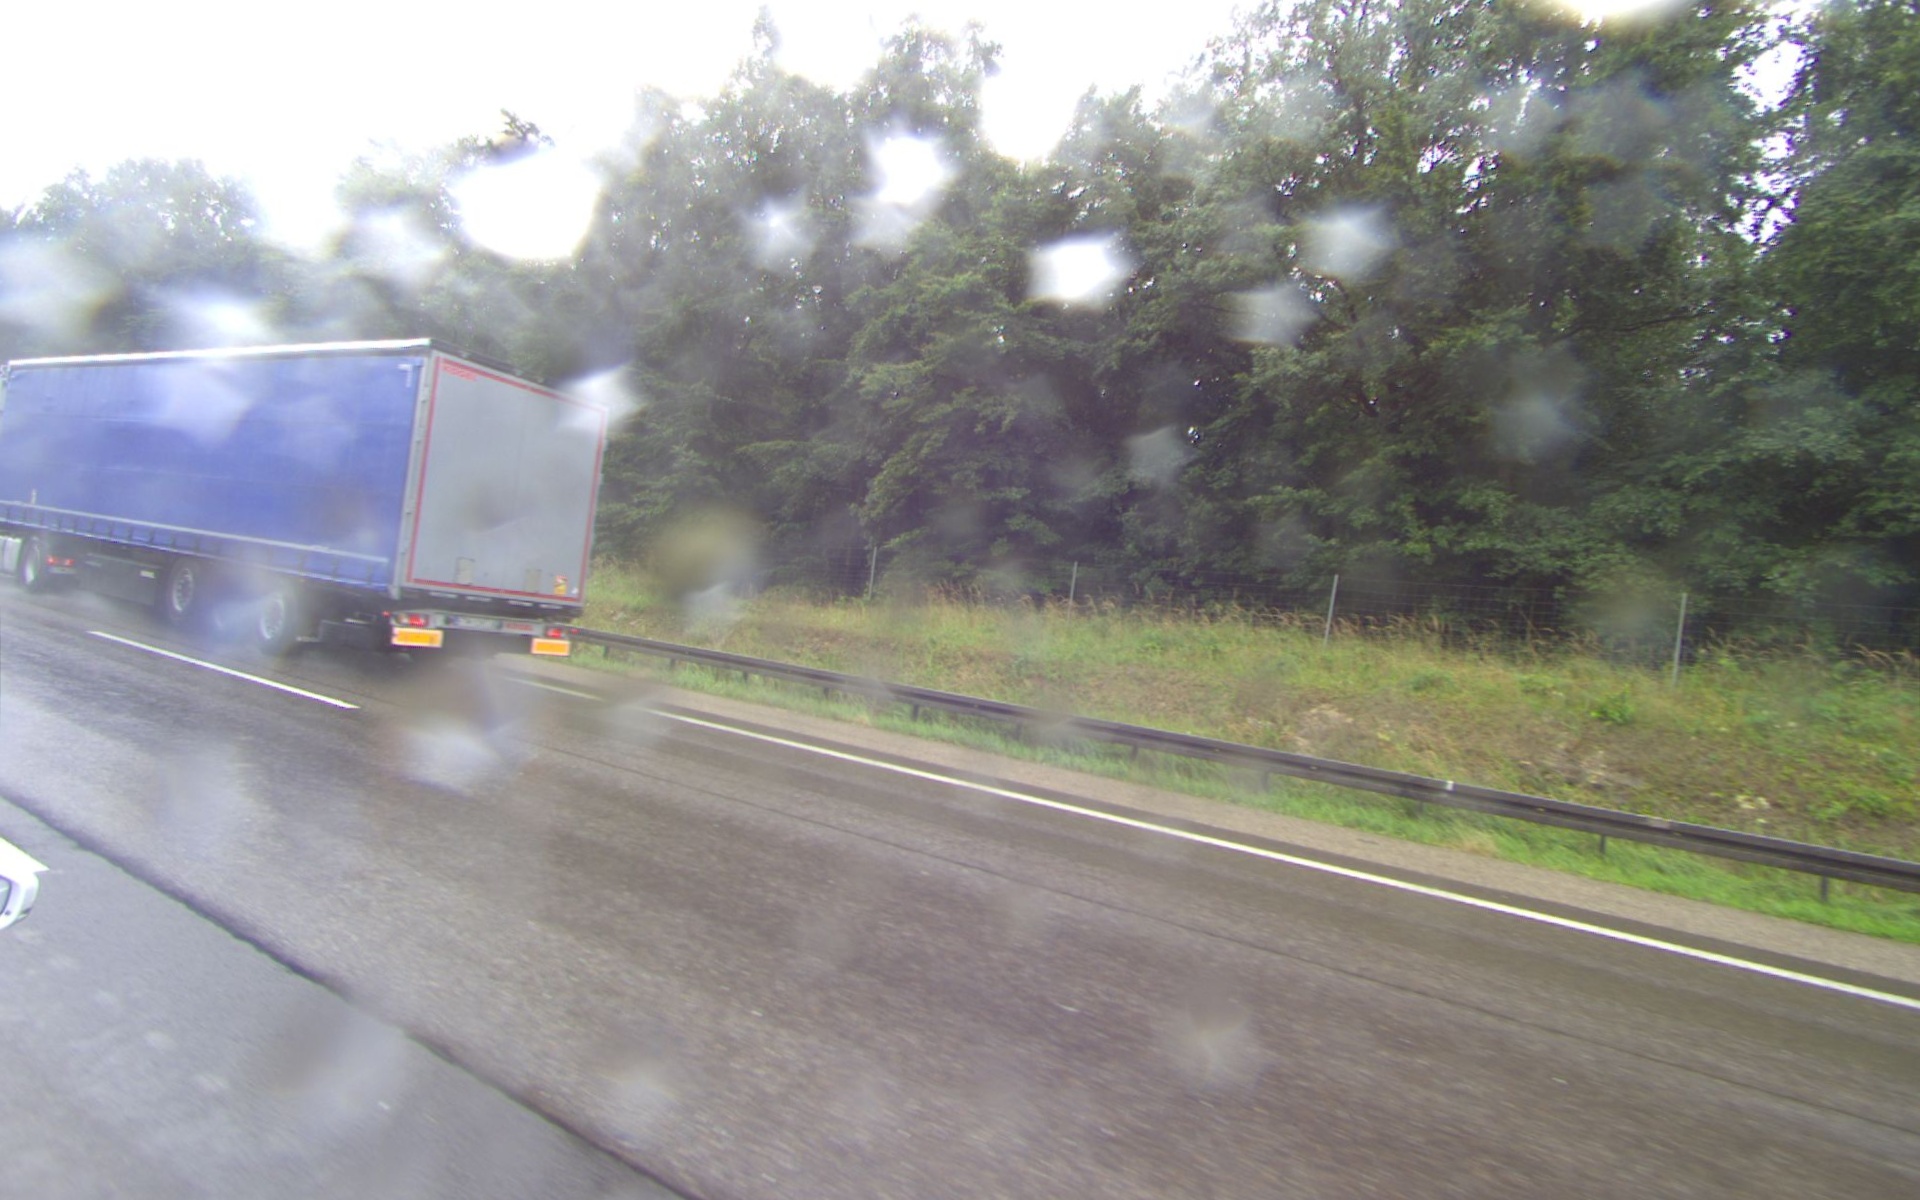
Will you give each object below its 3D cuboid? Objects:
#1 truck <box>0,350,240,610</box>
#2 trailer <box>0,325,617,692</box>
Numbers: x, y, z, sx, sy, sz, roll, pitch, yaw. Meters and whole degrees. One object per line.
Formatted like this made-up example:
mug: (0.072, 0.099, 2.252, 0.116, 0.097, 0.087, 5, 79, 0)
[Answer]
truck: (-16.840, -2.250, 19.132, 5.912, 4.060, 2.607, 7, -1, 31)
trailer: (-11.215, -1.592, 15.779, 13.485, 4.060, 2.559, 7, -1, 31)
